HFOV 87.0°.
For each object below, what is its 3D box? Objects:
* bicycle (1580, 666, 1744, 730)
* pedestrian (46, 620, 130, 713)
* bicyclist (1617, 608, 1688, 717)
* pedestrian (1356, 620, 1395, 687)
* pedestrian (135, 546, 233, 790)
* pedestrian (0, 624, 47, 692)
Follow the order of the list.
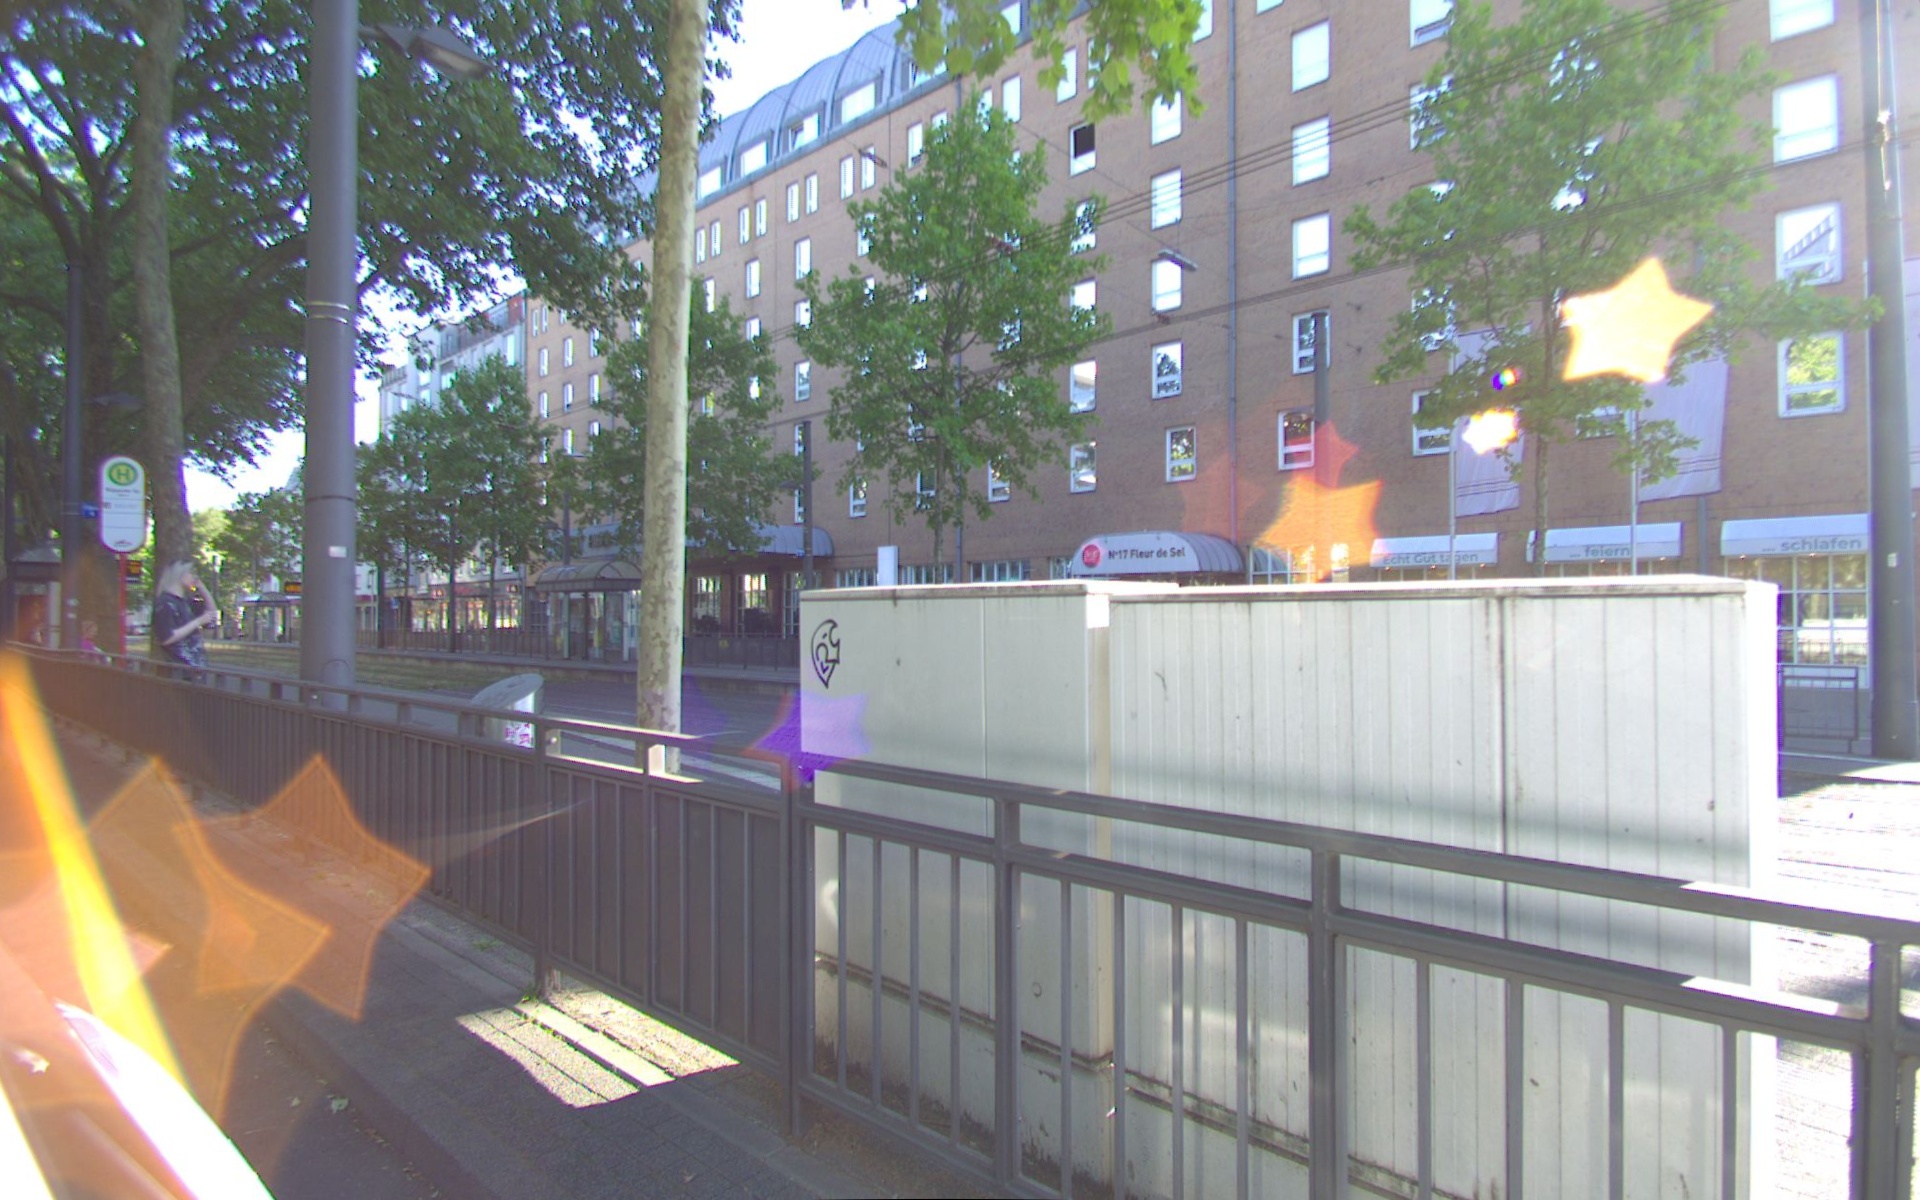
[{"bbox_3d":[11.821,1.626,17.106,2.185,0.940,0.658,-2,-2,44],"label":"bicycle"},{"bbox_3d":[-13.858,1.030,16.095,0.965,1.410,0.665,-1,0,-44],"label":"pedestrian"},{"bbox_3d":[11.763,1.045,17.184,0.852,1.799,0.742,-2,-3,44],"label":"bicyclist"},{"bbox_3d":[10.293,1.309,25.087,0.725,1.596,0.583,-1,0,40],"label":"pedestrian"},{"bbox_3d":[-6.442,0.532,8.392,0.759,1.914,0.504,-1,0,42],"label":"pedestrian"},{"bbox_3d":[-20.030,1.231,21.635,0.725,1.398,0.641,-1,0,-44],"label":"pedestrian"}]
